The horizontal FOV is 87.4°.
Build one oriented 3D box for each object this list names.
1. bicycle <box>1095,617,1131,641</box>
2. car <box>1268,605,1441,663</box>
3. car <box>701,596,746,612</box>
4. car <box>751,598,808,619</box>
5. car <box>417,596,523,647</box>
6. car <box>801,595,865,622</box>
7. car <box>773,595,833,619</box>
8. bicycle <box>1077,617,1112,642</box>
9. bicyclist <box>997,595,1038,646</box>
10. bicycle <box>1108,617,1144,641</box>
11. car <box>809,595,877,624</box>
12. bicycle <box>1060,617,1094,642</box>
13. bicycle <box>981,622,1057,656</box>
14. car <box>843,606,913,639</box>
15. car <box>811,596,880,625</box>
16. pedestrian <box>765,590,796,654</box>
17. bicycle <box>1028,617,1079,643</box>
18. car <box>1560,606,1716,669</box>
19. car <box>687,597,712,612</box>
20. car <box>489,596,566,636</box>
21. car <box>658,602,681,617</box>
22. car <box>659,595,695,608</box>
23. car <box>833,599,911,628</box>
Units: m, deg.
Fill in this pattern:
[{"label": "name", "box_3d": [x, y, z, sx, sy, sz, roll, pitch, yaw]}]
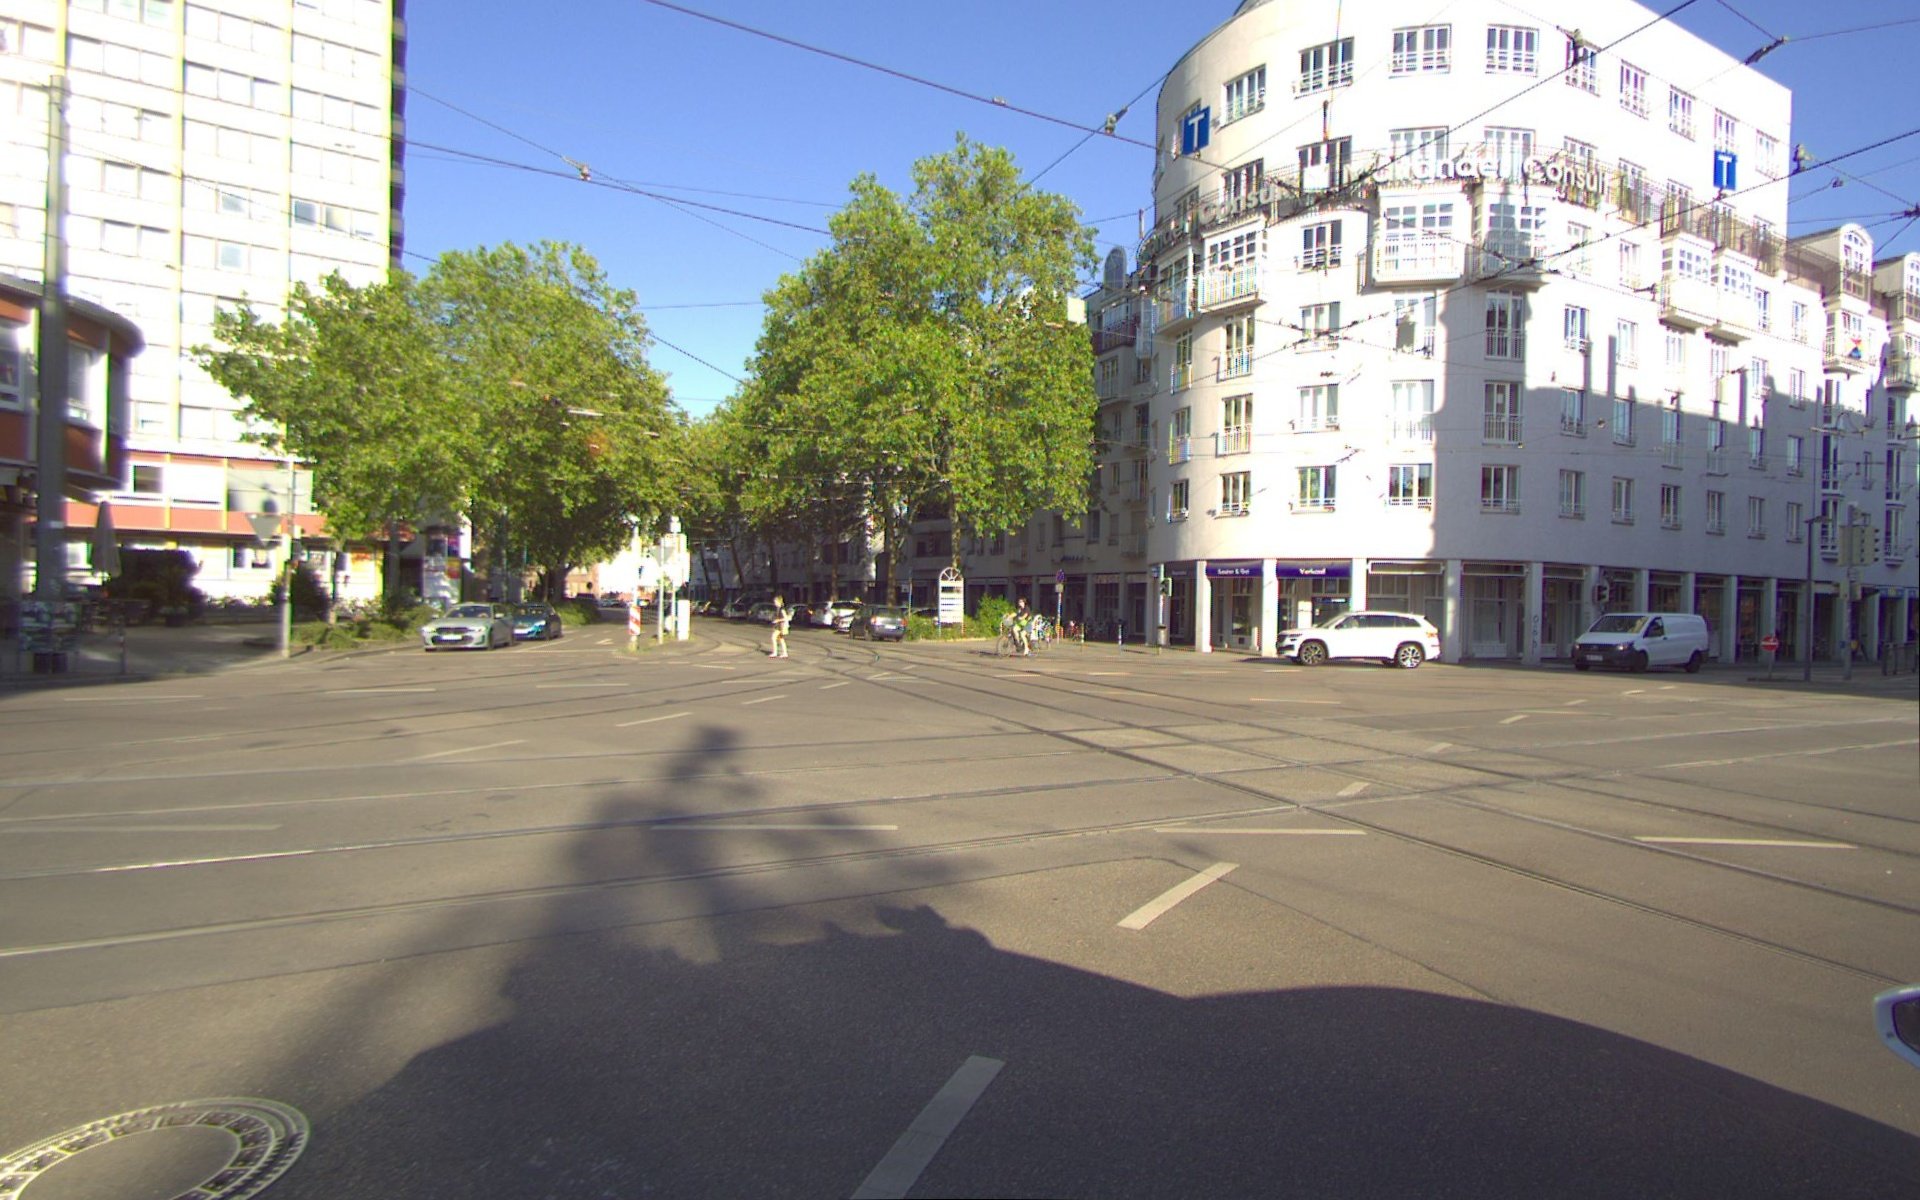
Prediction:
[{"label": "bicycle", "box_3d": [7.520, 1.415, 49.421, 0.808, 1.122, 1.936, 0, 0, -25]}, {"label": "car", "box_3d": [11.781, 0.993, 30.238, 4.420, 1.641, 2.001, 1, 0, 3]}, {"label": "car", "box_3d": [-23.631, 0.376, 100.375, 3.953, 1.530, 1.785, 1, 0, -30]}, {"label": "car", "box_3d": [-13.592, 0.650, 75.696, 3.947, 1.530, 1.788, 0, 0, -26]}, {"label": "car", "box_3d": [-15.013, 0.651, 31.023, 1.858, 1.440, 4.446, 1, -1, -12]}, {"label": "car", "box_3d": [-8.539, 0.601, 67.615, 3.953, 1.738, 1.785, 1, 0, -30]}, {"label": "car", "box_3d": [-11.579, 0.520, 74.147, 3.953, 1.738, 1.785, 1, 0, -30]}, {"label": "bicycle", "box_3d": [6.506, 1.416, 48.738, 0.807, 1.122, 1.937, 0, 0, -23]}, {"label": "bicyclist", "box_3d": [1.707, 0.606, 29.804, 0.887, 1.487, 0.835, 0, 0, -35]}, {"label": "bicycle", "box_3d": [8.237, 1.433, 49.900, 0.808, 1.122, 1.936, 0, 0, -25]}, {"label": "car", "box_3d": [-7.562, 0.617, 64.919, 3.953, 1.738, 1.785, 1, 0, -30]}, {"label": "bicycle", "box_3d": [5.615, 1.409, 48.338, 0.807, 1.122, 1.937, 0, 0, -23]}, {"label": "bicycle", "box_3d": [1.761, 1.136, 29.851, 2.242, 0.939, 0.835, 1, 0, -36]}, {"label": "car", "box_3d": [-3.846, 1.012, 46.170, 1.865, 1.440, 4.429, 0, 0, -24]}, {"label": "car", "box_3d": [-7.136, 0.655, 62.678, 3.953, 1.738, 1.785, 1, 0, -30]}, {"label": "pedestrian", "box_3d": [-4.908, 0.582, 27.443, 0.686, 1.704, 0.867, -1, 0, -20]}, {"label": "bicycle", "box_3d": [4.372, 1.391, 47.200, 0.931, 1.122, 2.414, 0, 0, -42]}, {"label": "car", "box_3d": [21.687, 1.147, 32.084, 5.282, 1.862, 1.984, 1, 0, -30]}, {"label": "car", "box_3d": [-29.441, 0.463, 113.519, 1.778, 1.530, 3.969, 1, 1, -29]}, {"label": "car", "box_3d": [-16.559, 0.617, 38.678, 1.858, 1.440, 4.446, 1, -1, -12]}, {"label": "car", "box_3d": [-30.192, 0.966, 104.300, 1.774, 1.530, 3.978, 1, 0, -23]}, {"label": "car", "box_3d": [-34.435, 0.146, 122.259, 3.953, 1.530, 1.785, 1, 0, -30]}, {"label": "car", "box_3d": [-4.887, 0.775, 55.928, 3.953, 1.530, 1.785, 1, 0, -30]}]
